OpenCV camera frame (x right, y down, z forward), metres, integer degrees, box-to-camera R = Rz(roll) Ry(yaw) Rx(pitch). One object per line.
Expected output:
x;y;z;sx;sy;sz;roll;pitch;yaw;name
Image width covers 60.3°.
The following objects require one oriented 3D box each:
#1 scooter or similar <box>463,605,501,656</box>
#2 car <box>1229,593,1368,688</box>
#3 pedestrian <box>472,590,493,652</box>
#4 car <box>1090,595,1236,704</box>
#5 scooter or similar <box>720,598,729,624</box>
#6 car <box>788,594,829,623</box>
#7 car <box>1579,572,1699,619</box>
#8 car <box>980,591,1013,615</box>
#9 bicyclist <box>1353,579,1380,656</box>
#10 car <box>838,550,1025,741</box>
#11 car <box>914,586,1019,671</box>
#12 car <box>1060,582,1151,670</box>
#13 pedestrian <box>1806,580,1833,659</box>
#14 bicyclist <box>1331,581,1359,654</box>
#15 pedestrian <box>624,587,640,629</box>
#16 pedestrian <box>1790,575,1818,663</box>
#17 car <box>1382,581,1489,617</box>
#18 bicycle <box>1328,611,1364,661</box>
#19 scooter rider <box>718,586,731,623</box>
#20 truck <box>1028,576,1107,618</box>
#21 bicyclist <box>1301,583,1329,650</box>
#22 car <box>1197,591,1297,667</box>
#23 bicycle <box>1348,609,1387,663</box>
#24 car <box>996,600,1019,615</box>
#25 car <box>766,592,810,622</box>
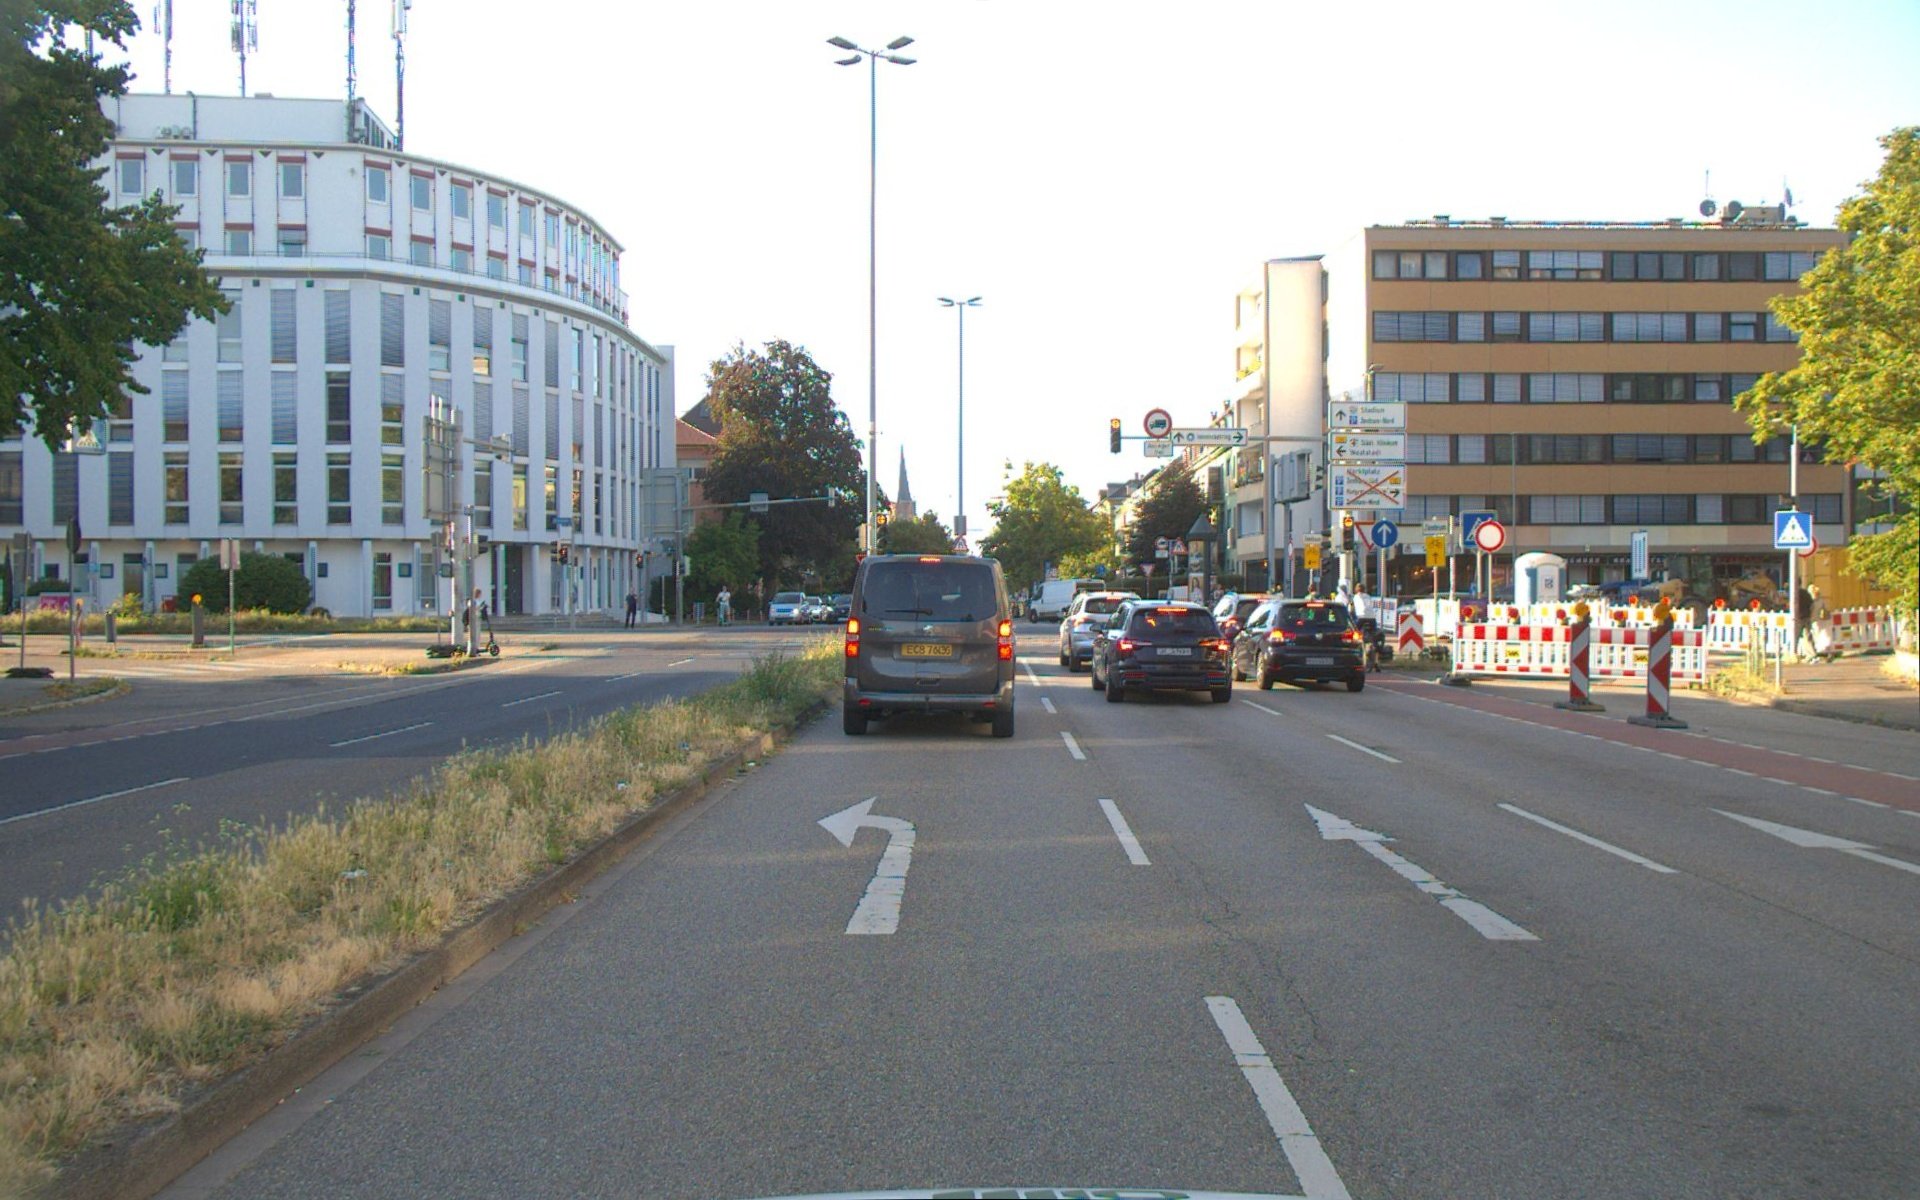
-11.850;0.753;41.004;0.877;1.255;0.370;0;0;-11;scooter or similar
5.691;0.633;28.194;1.600;1.474;3.745;1;0;0;car
-11.909;0.513;41.227;0.466;1.532;0.334;0;0;-12;pedestrian
2.925;0.665;24.638;1.647;1.446;4.214;1;0;0;car
-10.956;0.512;76.979;0.279;1.209;1.169;0;0;0;scooter or similar
-7.913;0.431;86.634;1.818;1.445;3.999;-1;0;-1;car
27.876;-0.183;68.019;4.129;1.849;2.000;-1;0;0;car
2.619;0.195;120.302;1.955;1.691;3.995;-1;0;-6;car
8.215;0.354;33.427;0.432;1.552;0.482;0;0;0;bicyclist
-0.286;0.446;19.032;1.868;1.896;4.526;1;0;0;car
0.121;0.518;32.798;1.953;1.557;4.000;0;0;0;car
2.887;0.485;33.440;1.497;1.641;3.745;1;0;0;car
18.651;0.422;35.886;0.445;1.700;0.601;0;0;35;pedestrian
8.320;0.368;35.763;0.432;1.552;0.725;0;0;0;bicyclist
-13.854;0.347;69.796;0.615;1.752;0.669;0;0;-14;pedestrian
18.098;0.402;35.470;0.477;1.866;0.570;0;0;32;pedestrian
19.952;-0.042;69.472;3.910;1.445;1.785;0;0;-6;car
8.315;0.760;35.681;0.329;1.025;1.856;0;0;0;bicycle
-10.949;0.205;76.924;0.471;1.727;0.636;0;0;0;scooter rider
5.630;-0.173;87.304;2.104;2.123;4.588;-1;0;-28;truck
8.300;0.381;38.699;0.502;1.552;0.725;0;0;0;bicyclist
5.825;0.551;33.826;1.474;1.474;3.305;0;0;0;car
8.251;0.713;33.543;0.329;1.025;1.856;0;0;0;bicycle
4.398;0.684;153.335;1.866;1.396;3.999;-1;0;-1;car
-8.400;0.327;80.909;1.818;1.445;3.999;-1;0;-1;car
